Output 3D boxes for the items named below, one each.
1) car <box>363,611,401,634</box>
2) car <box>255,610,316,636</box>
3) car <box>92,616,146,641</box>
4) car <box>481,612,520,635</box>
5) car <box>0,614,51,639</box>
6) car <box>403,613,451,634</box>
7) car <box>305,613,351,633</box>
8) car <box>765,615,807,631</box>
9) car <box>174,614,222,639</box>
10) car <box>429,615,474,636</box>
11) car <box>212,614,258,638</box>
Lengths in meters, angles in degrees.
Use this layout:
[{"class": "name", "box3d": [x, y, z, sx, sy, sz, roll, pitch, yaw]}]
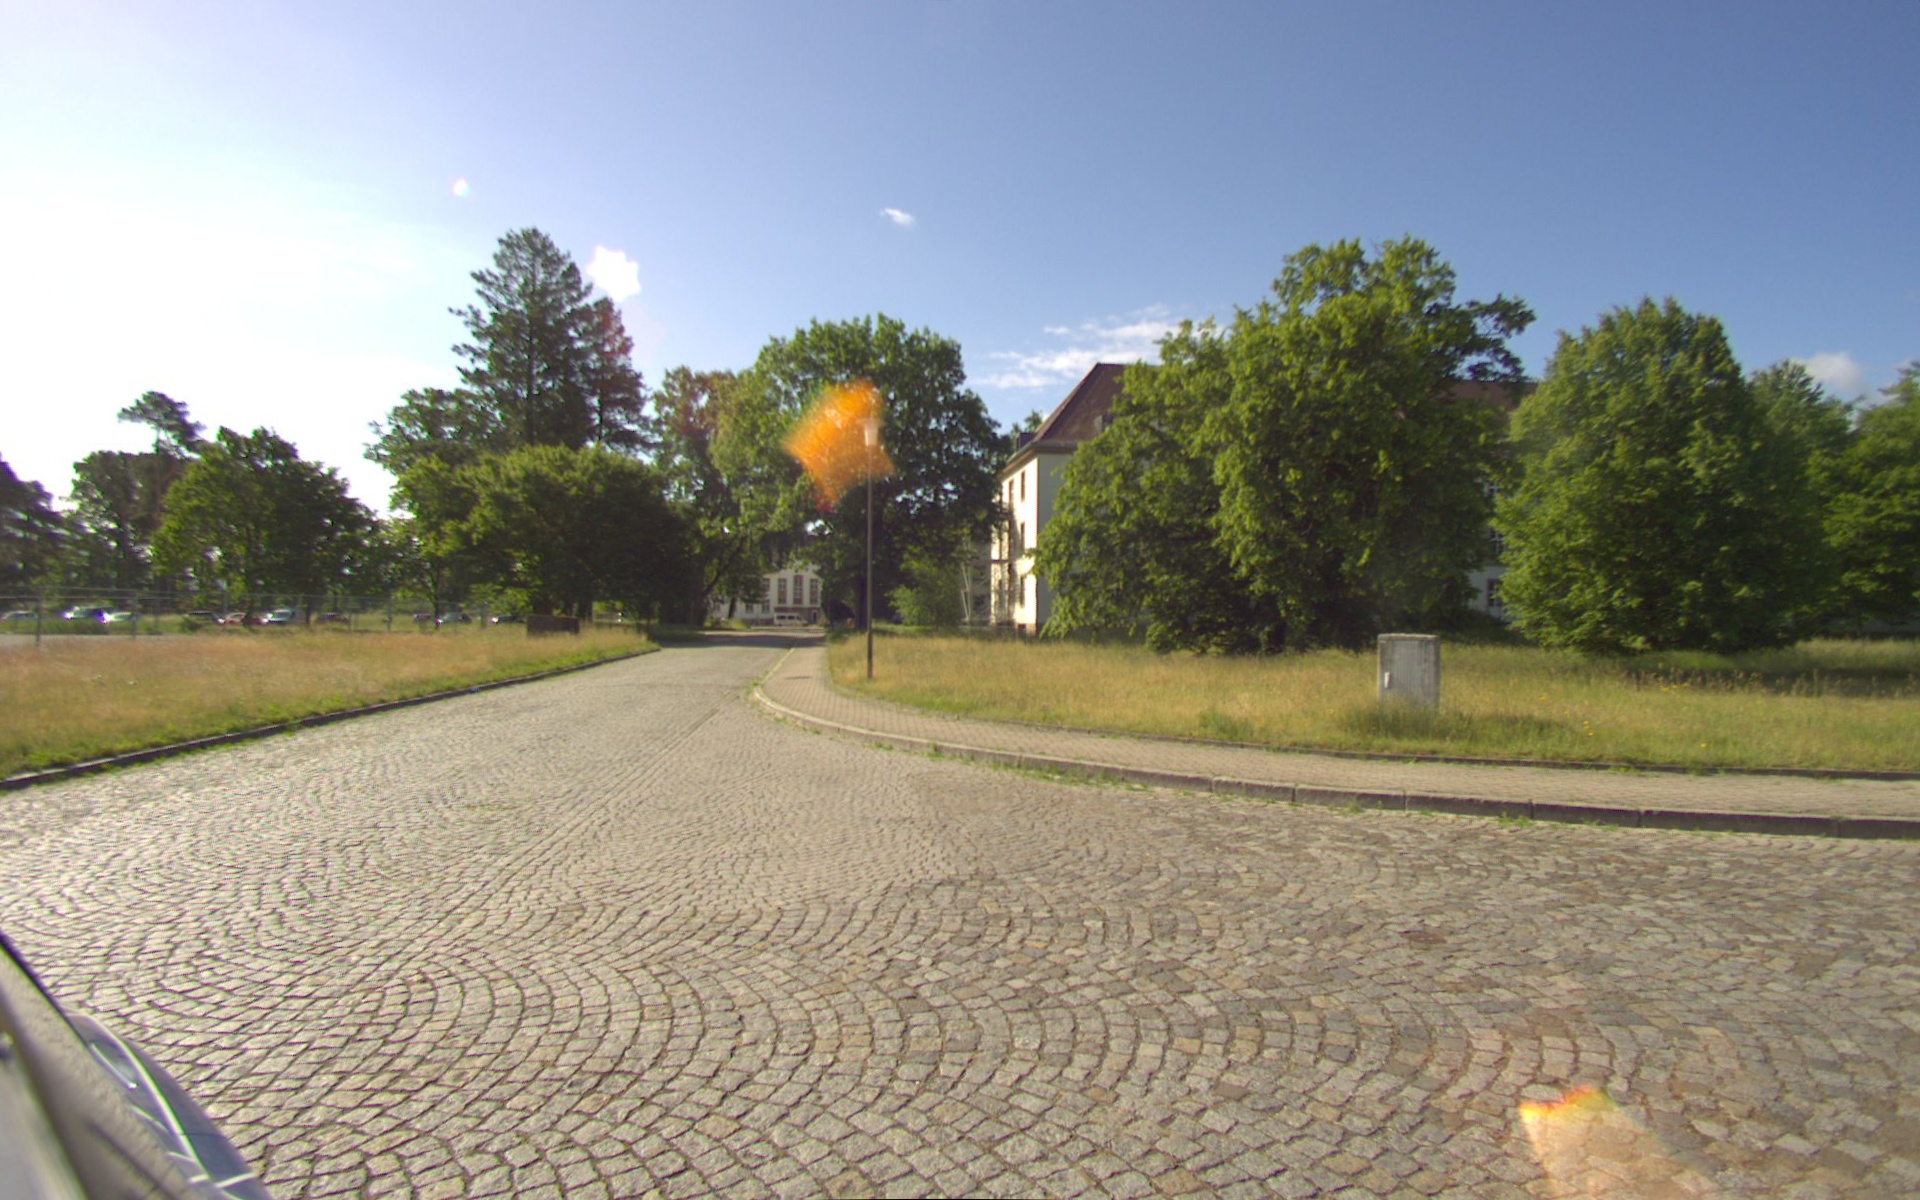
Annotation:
[{"class": "car", "box3d": [-51.038, 1.979, 89.451, 1.715, 2.029, 3.626, 1, -1, -8]}, {"class": "car", "box3d": [-58.728, 1.956, 88.278, 1.968, 2.029, 6.044, -1, 1, -8]}, {"class": "car", "box3d": [-71.057, 2.365, 85.543, 1.715, 2.029, 3.858, 1, -1, -8]}, {"class": "car", "box3d": [-40.535, 2.066, 89.411, 2.210, 2.029, 4.359, 1, -1, -11]}, {"class": "car", "box3d": [-78.695, 2.205, 84.885, 1.716, 2.029, 3.856, 1, -1, -6]}, {"class": "car", "box3d": [-47.173, 2.084, 89.656, 2.214, 1.853, 4.353, 1, -1, -4]}, {"class": "car", "box3d": [-54.936, 1.961, 88.054, 1.968, 1.664, 4.007, 1, -1, -8]}, {"class": "car", "box3d": [-26.703, 3.540, 155.493, 6.350, 2.485, 2.467, 1, -1, -6]}, {"class": "car", "box3d": [-64.999, 2.249, 86.373, 1.715, 2.029, 3.626, 1, -1, -8]}, {"class": "car", "box3d": [-44.751, 2.229, 89.134, 2.212, 1.853, 4.356, 1, -1, -7]}, {"class": "car", "box3d": [-62.305, 2.196, 87.050, 1.715, 2.029, 3.626, 1, -1, -8]}]
